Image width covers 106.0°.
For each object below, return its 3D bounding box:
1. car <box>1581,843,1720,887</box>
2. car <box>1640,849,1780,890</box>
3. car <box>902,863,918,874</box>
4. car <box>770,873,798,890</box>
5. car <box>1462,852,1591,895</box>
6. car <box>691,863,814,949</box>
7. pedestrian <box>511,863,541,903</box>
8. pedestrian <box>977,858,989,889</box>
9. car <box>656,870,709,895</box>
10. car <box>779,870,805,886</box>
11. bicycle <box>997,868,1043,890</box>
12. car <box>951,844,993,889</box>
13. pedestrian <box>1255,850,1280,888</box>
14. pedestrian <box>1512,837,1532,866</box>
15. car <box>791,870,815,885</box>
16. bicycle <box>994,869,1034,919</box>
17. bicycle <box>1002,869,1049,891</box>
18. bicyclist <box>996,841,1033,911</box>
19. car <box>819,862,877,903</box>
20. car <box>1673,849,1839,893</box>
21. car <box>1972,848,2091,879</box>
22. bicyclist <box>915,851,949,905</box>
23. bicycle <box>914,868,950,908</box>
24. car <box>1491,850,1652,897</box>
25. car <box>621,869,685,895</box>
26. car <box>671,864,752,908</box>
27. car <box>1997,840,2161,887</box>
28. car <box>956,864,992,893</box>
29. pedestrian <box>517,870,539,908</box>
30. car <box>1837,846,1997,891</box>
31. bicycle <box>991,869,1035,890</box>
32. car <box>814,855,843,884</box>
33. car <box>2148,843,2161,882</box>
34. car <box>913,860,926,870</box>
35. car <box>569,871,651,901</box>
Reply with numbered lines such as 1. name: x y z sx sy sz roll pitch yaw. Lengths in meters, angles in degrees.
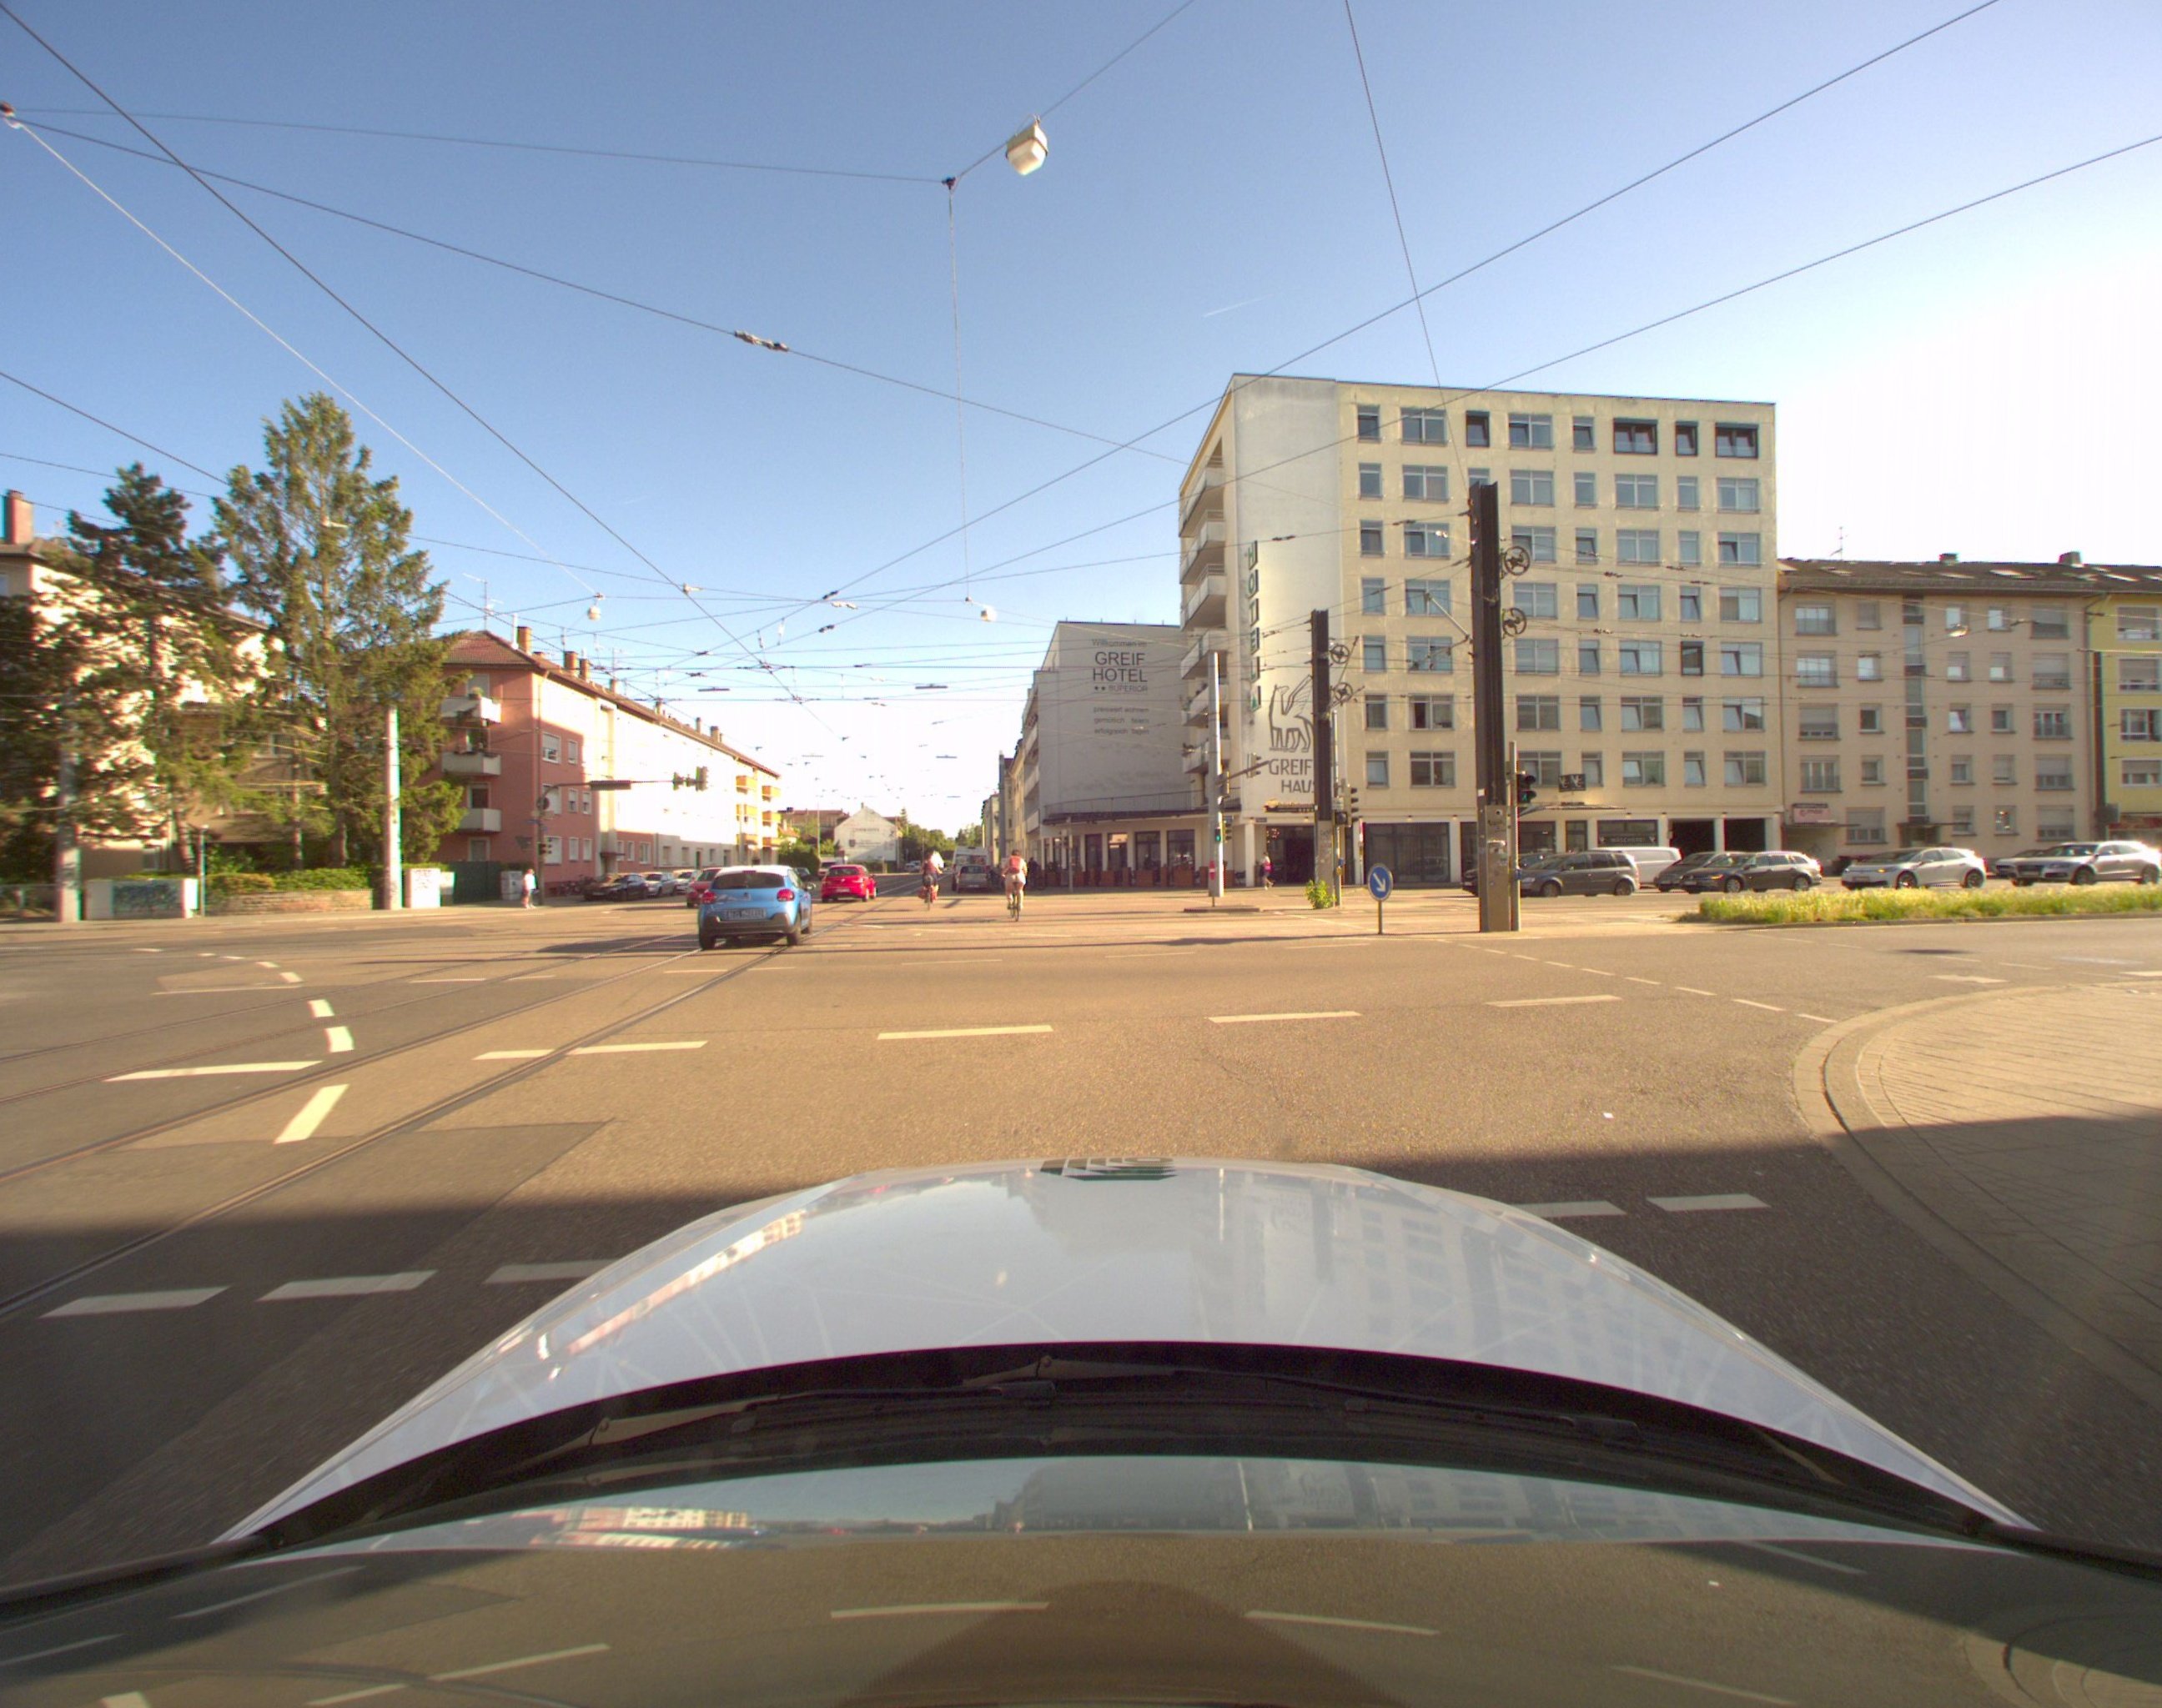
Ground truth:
1. car: 26.092 0.481 37.415 5.302 1.868 1.945 -1 2 -6
2. car: 25.056 0.599 32.531 4.305 1.576 1.984 0 -1 -7
3. car: -29.890 2.547 142.605 2.216 1.932 4.936 1 -1 -7
4. car: -29.302 2.713 80.482 1.869 1.576 3.986 1 -1 -10
5. car: 16.950 0.720 31.074 4.029 1.576 1.790 0 -1 -7
6. car: -6.227 0.914 15.822 1.739 1.452 3.644 0 -1 -15
7. pedestrian: -24.557 1.263 36.028 0.696 1.722 0.788 0 -2 21
8. pedestrian: -5.395 1.061 44.780 0.612 1.654 0.669 1 -2 -8
9. car: -25.530 1.777 52.314 1.740 1.526 4.218 1 -1 -8
10. car: -30.248 2.510 85.446 1.869 1.576 3.986 1 -1 -10
11. bicycle: -3.159 1.295 42.131 2.251 1.001 0.853 -2 -1 -10
12. car: -6.422 0.743 47.509 2.265 2.482 4.992 0 -1 -9
13. pedestrian: 8.567 0.694 37.488 0.906 1.746 0.735 1 -2 -8
14. pedestrian: 21.121 -0.119 39.028 0.530 1.376 0.679 2 -2 -27
15. car: -31.245 2.626 91.563 1.869 1.576 3.986 1 -1 -10
16. bicycle: -1.662 0.975 20.496 0.808 1.181 2.063 1 -1 0
17. bicycle: -2.781 1.281 40.793 2.251 1.001 0.853 -2 -1 -10
18. bicyclist: -1.659 0.545 20.361 0.808 1.692 0.935 1 -2 0
19. car: -9.306 1.094 32.782 1.784 1.522 3.750 1 0 -9
20. car: 23.717 0.603 28.713 4.518 1.491 1.821 0 -1 -4
21. car: 46.305 0.483 39.716 4.035 1.435 1.779 0 -1 -5
22. bicyclist: -4.739 0.748 25.941 0.939 1.673 1.077 1 -1 -6
23. bicycle: -4.735 1.069 25.982 0.939 1.224 2.090 1 -1 -6
24. car: 16.671 0.656 27.800 4.430 1.548 1.933 0 -1 -4
25. car: -24.872 1.614 47.504 1.901 1.437 4.093 1 -1 -6
26. car: -13.719 1.148 30.450 1.778 1.486 3.816 -1 -1 -9
27. car: 36.865 0.363 29.962 4.611 1.577 1.866 -1 -3 -7
28. car: -5.624 1.249 42.581 1.658 1.431 3.874 1 -1 -11
29. pedestrian: -23.262 1.472 34.255 0.516 1.568 0.572 1 -2 -8
30. car: 29.756 0.512 29.051 4.226 1.515 1.839 0 -1 -8
31. bicycle: -3.626 1.329 43.186 2.251 1.001 0.853 -2 -1 -10
32. car: -28.327 1.737 91.395 2.416 3.142 3.479 1 -1 -7
33. car: 43.968 0.318 31.070 4.550 1.480 1.964 0 -1 -8
34. car: -31.775 2.156 160.166 2.072 1.763 5.023 1 -1 -7
35. car: -24.258 1.667 42.174 2.153 1.432 4.425 1 -3 -9
